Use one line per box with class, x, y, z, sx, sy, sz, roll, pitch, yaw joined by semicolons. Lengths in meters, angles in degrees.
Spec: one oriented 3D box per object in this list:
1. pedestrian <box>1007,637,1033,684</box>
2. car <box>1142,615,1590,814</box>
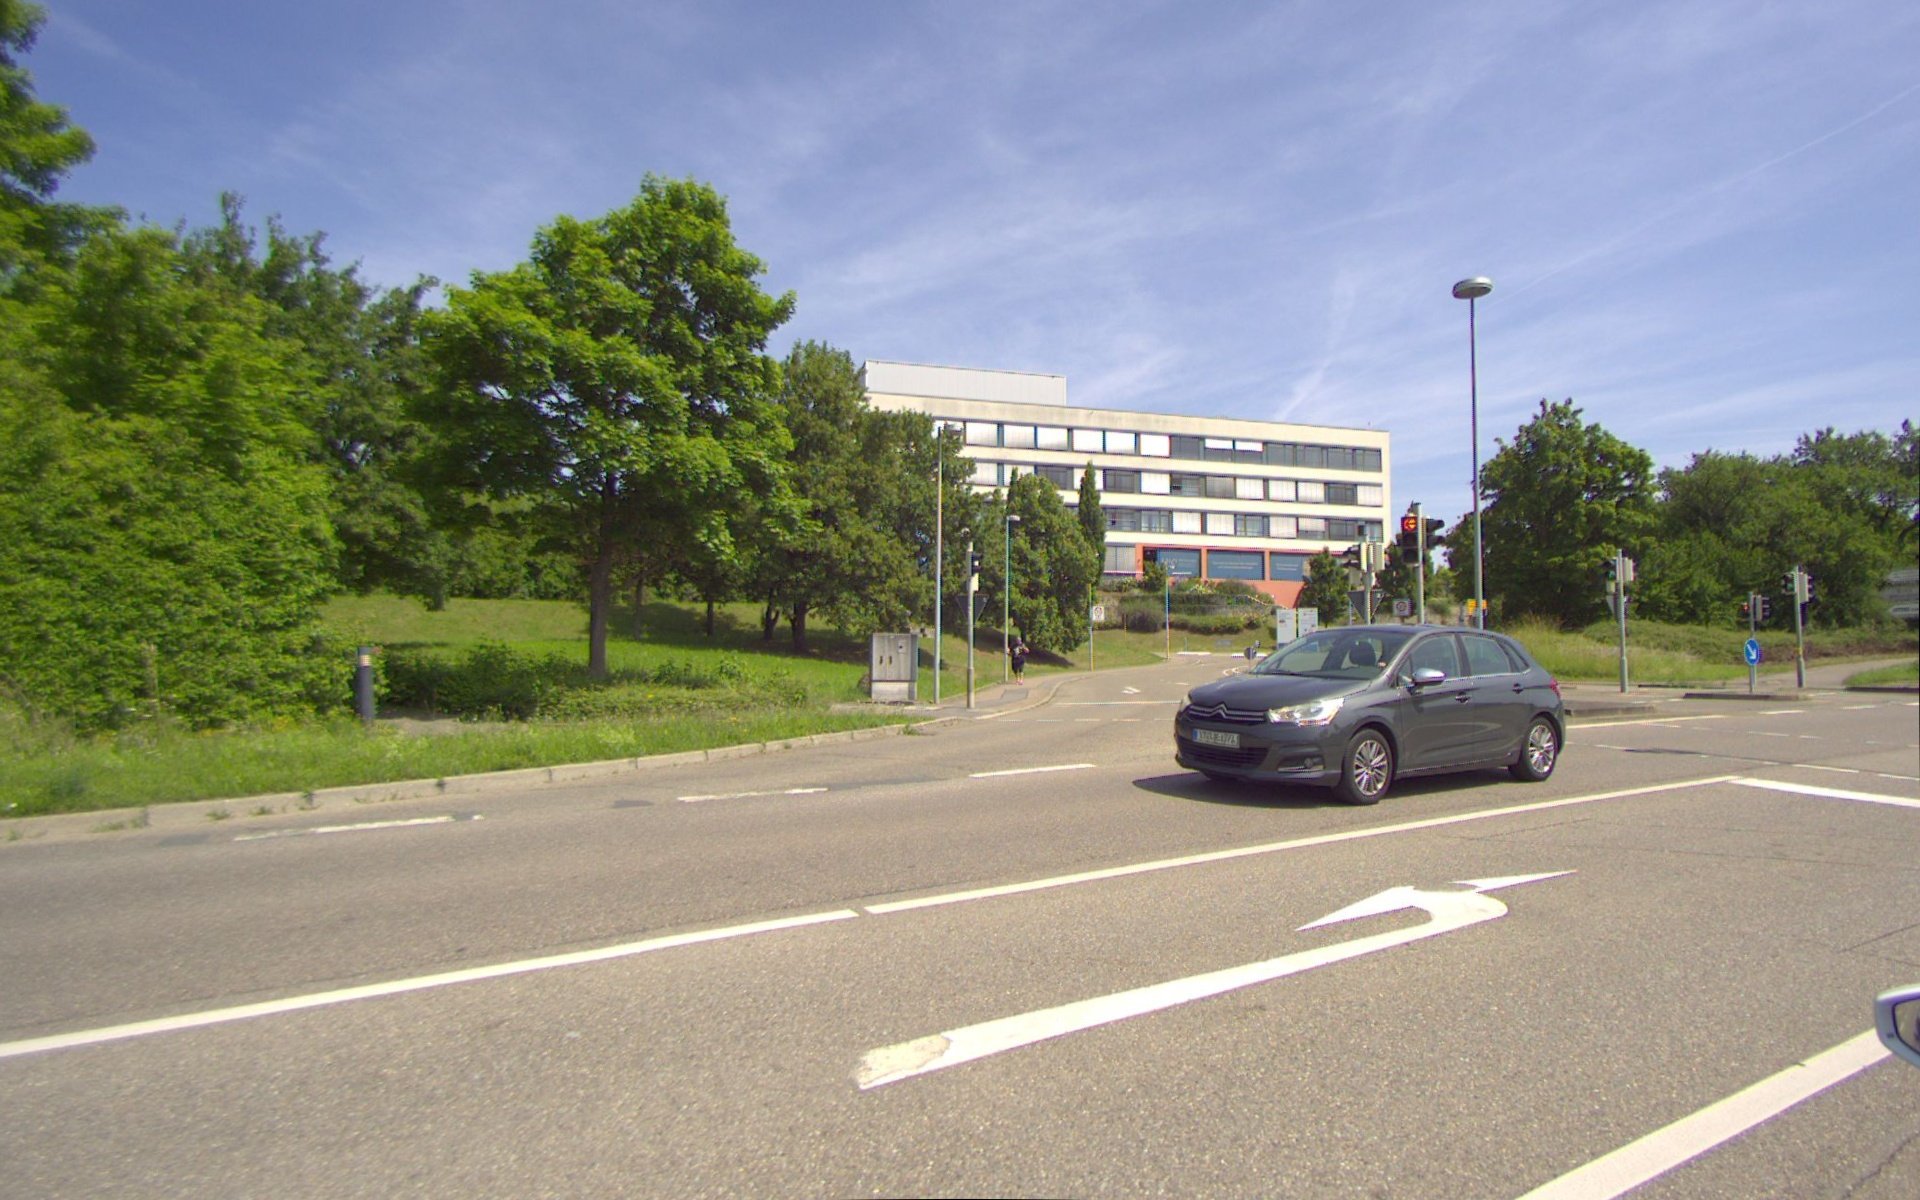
pedestrian;2.289;2.280;38.224;0.881;1.758;0.923;0;-1;7
car;3.919;0.935;9.480;4.263;1.493;1.782;2;-2;-32
